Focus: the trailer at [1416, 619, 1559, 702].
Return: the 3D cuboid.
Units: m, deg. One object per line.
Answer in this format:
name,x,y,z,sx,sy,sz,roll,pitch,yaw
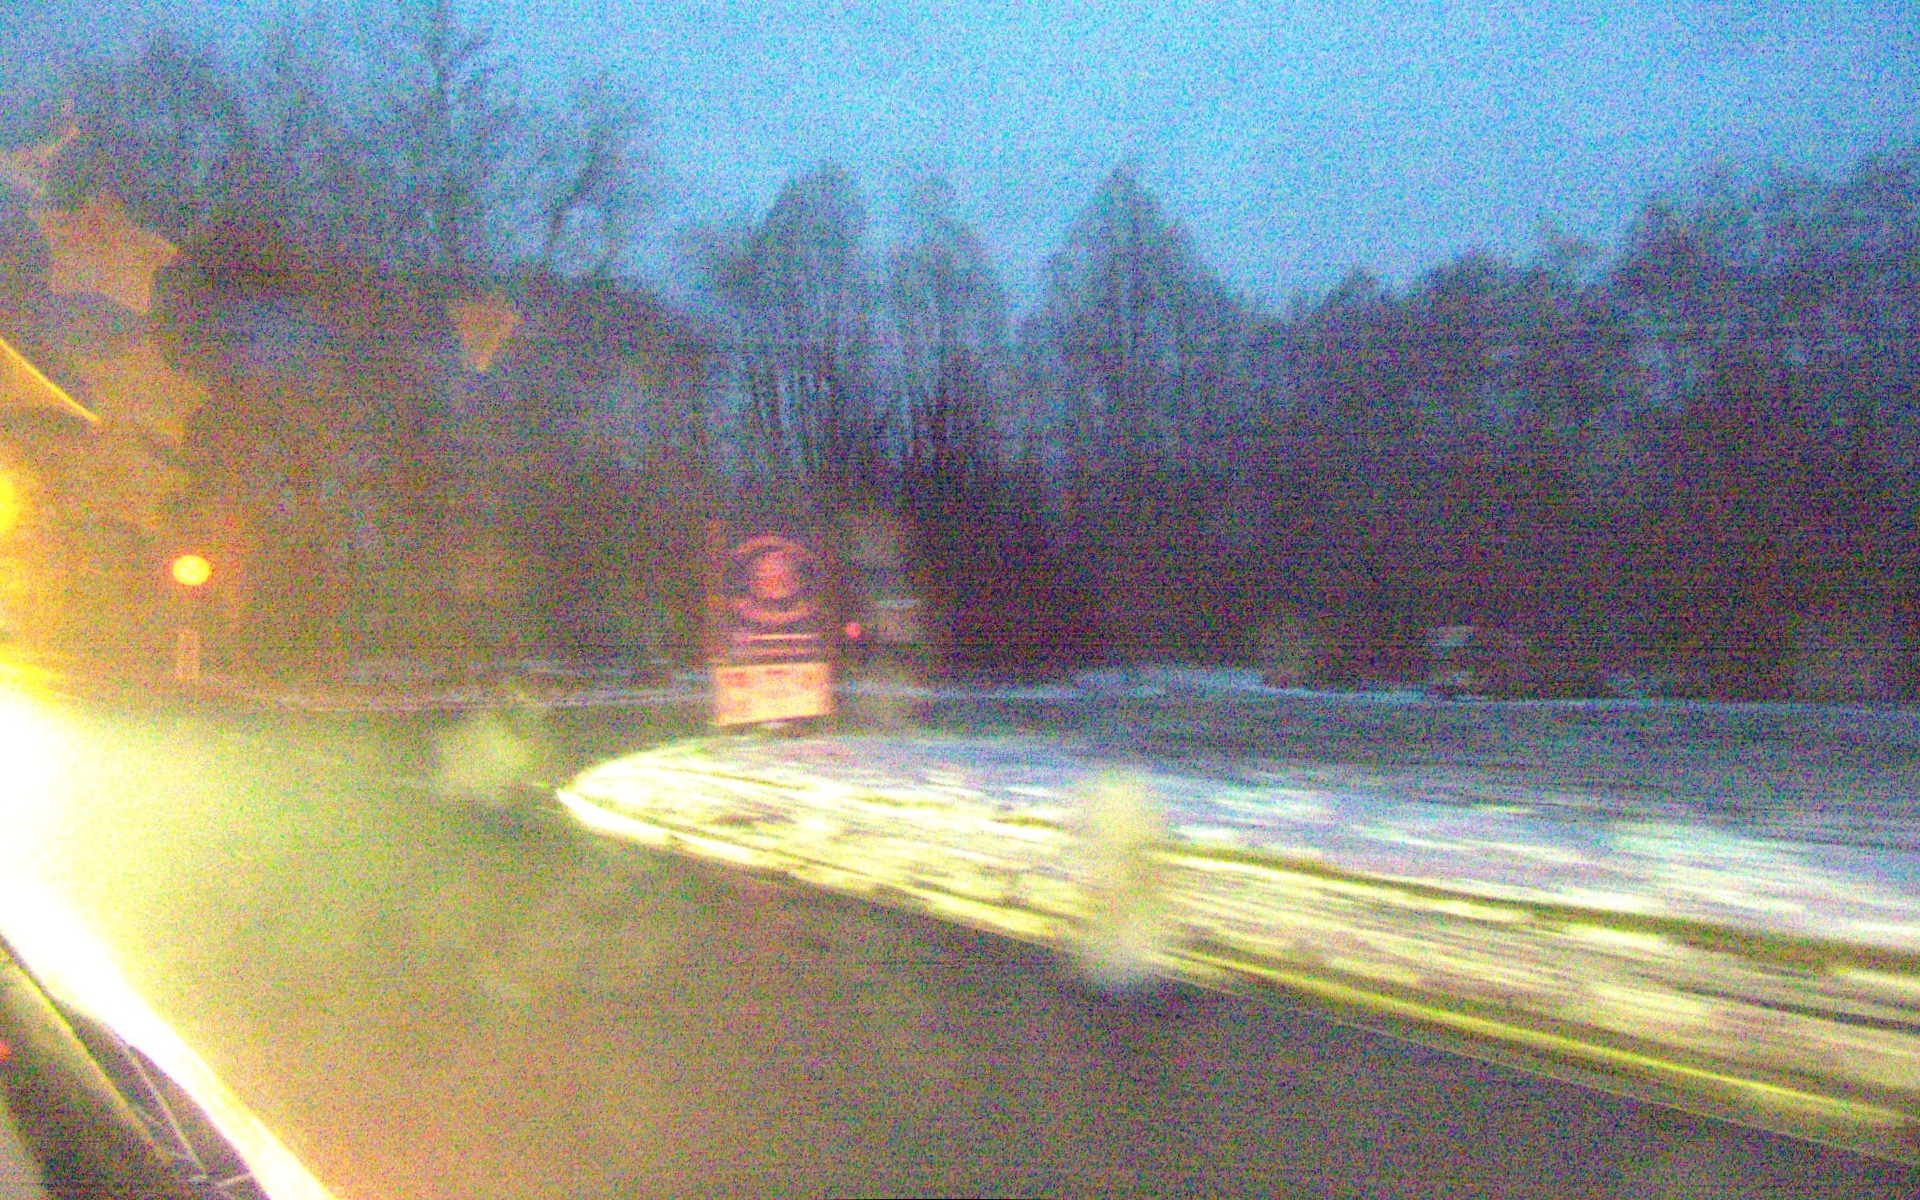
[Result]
trailer,15.410,1.765,29.551,3.745,2.234,1.980,4,-3,-31
